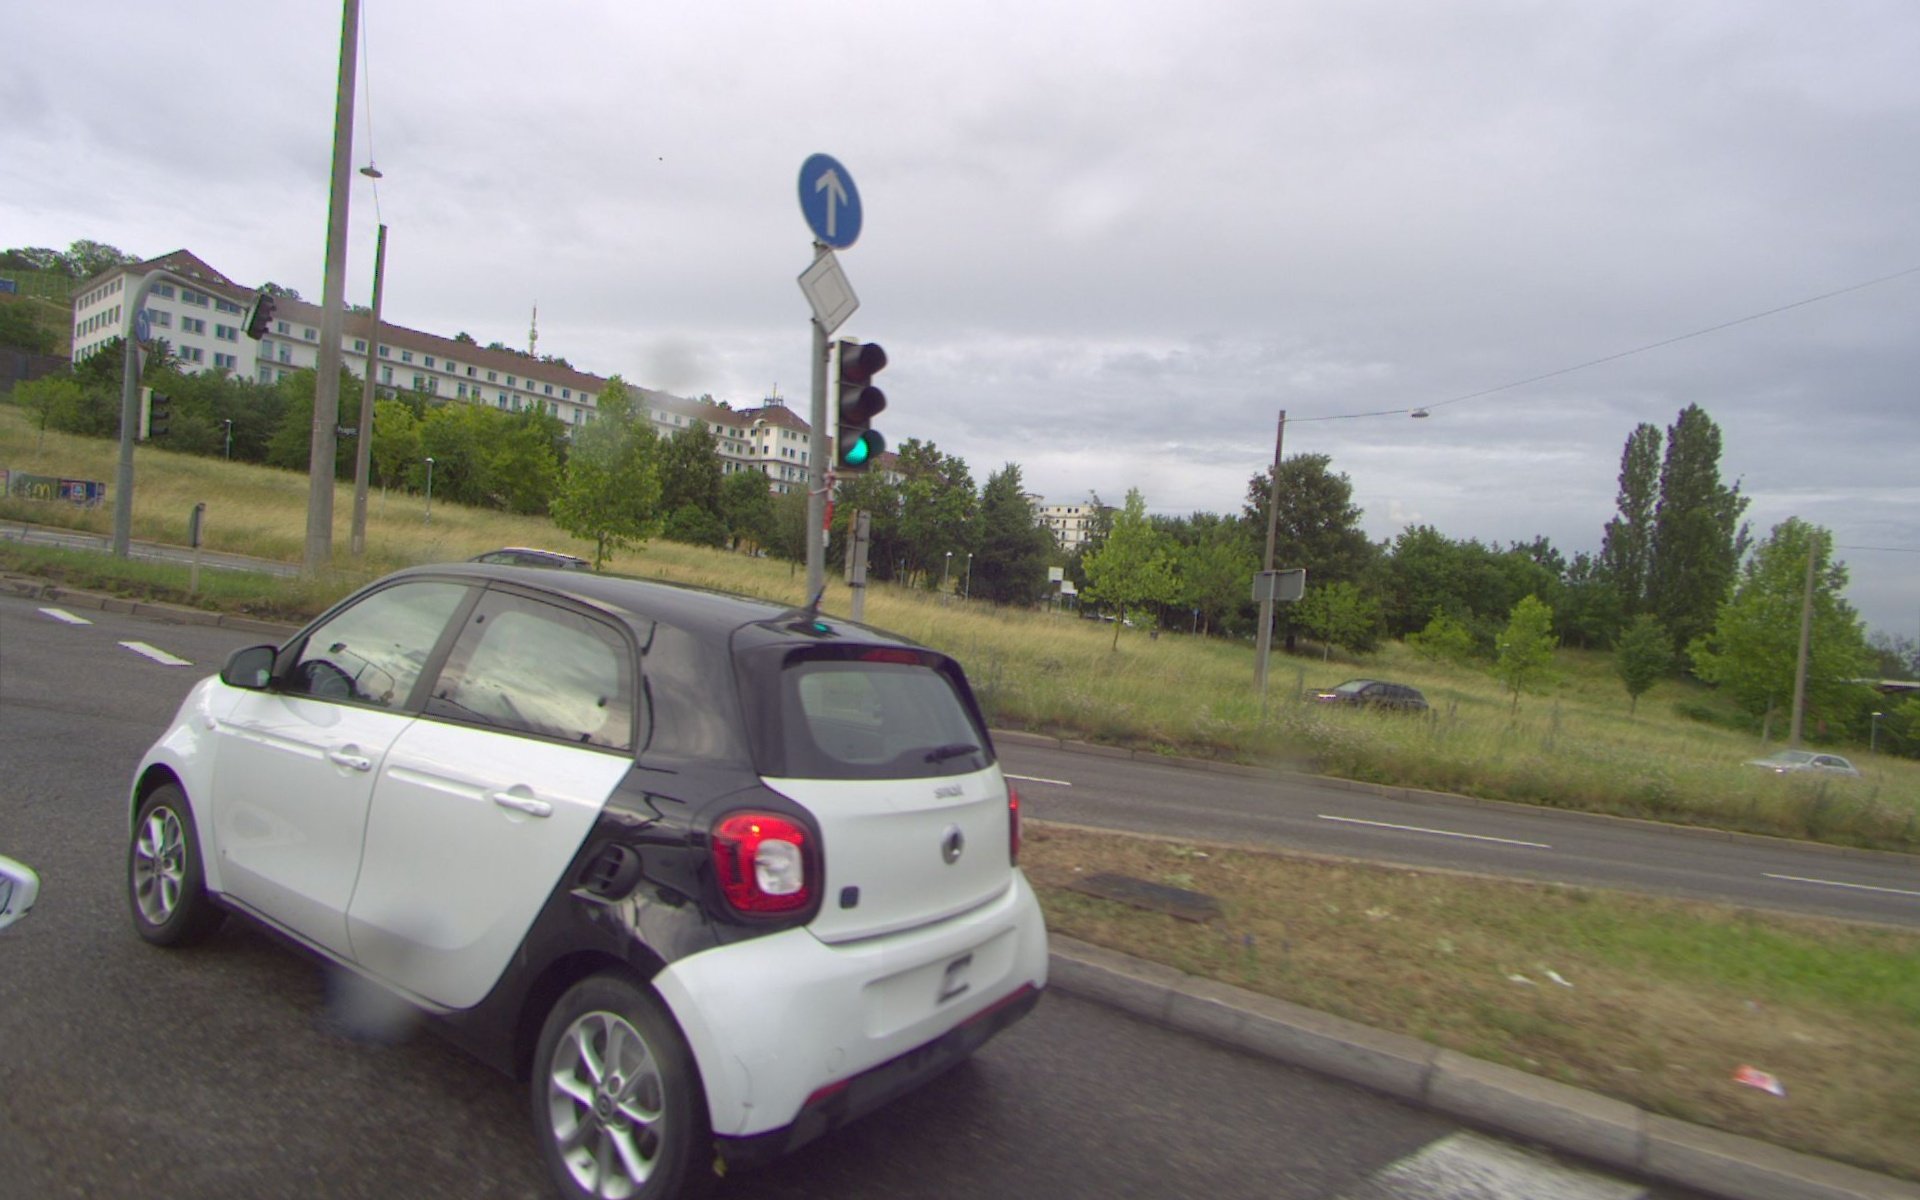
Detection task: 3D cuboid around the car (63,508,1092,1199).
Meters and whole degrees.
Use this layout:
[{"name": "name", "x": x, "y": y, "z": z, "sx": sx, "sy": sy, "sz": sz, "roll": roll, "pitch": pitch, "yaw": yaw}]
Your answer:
[{"name": "car", "x": -1.474, "y": 0.593, "z": 3.666, "sx": 3.393, "sy": 1.521, "sz": 1.660, "roll": 5, "pitch": -1, "yaw": 31}]

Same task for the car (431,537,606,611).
[{"name": "car", "x": -12.084, "y": -0.682, "z": 27.795, "sx": 3.890, "sy": 1.555, "sz": 1.999, "roll": 6, "pitch": -1, "yaw": -6}]

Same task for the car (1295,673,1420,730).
[{"name": "car", "x": 14.030, "y": 3.589, "z": 35.519, "sx": 3.905, "sy": 1.425, "sz": 1.595, "roll": 9, "pitch": -3, "yaw": -19}]

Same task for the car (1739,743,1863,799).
[{"name": "car", "x": 30.537, "y": 6.207, "z": 36.531, "sx": 3.905, "sy": 1.425, "sz": 1.595, "roll": 9, "pitch": -3, "yaw": -19}]
